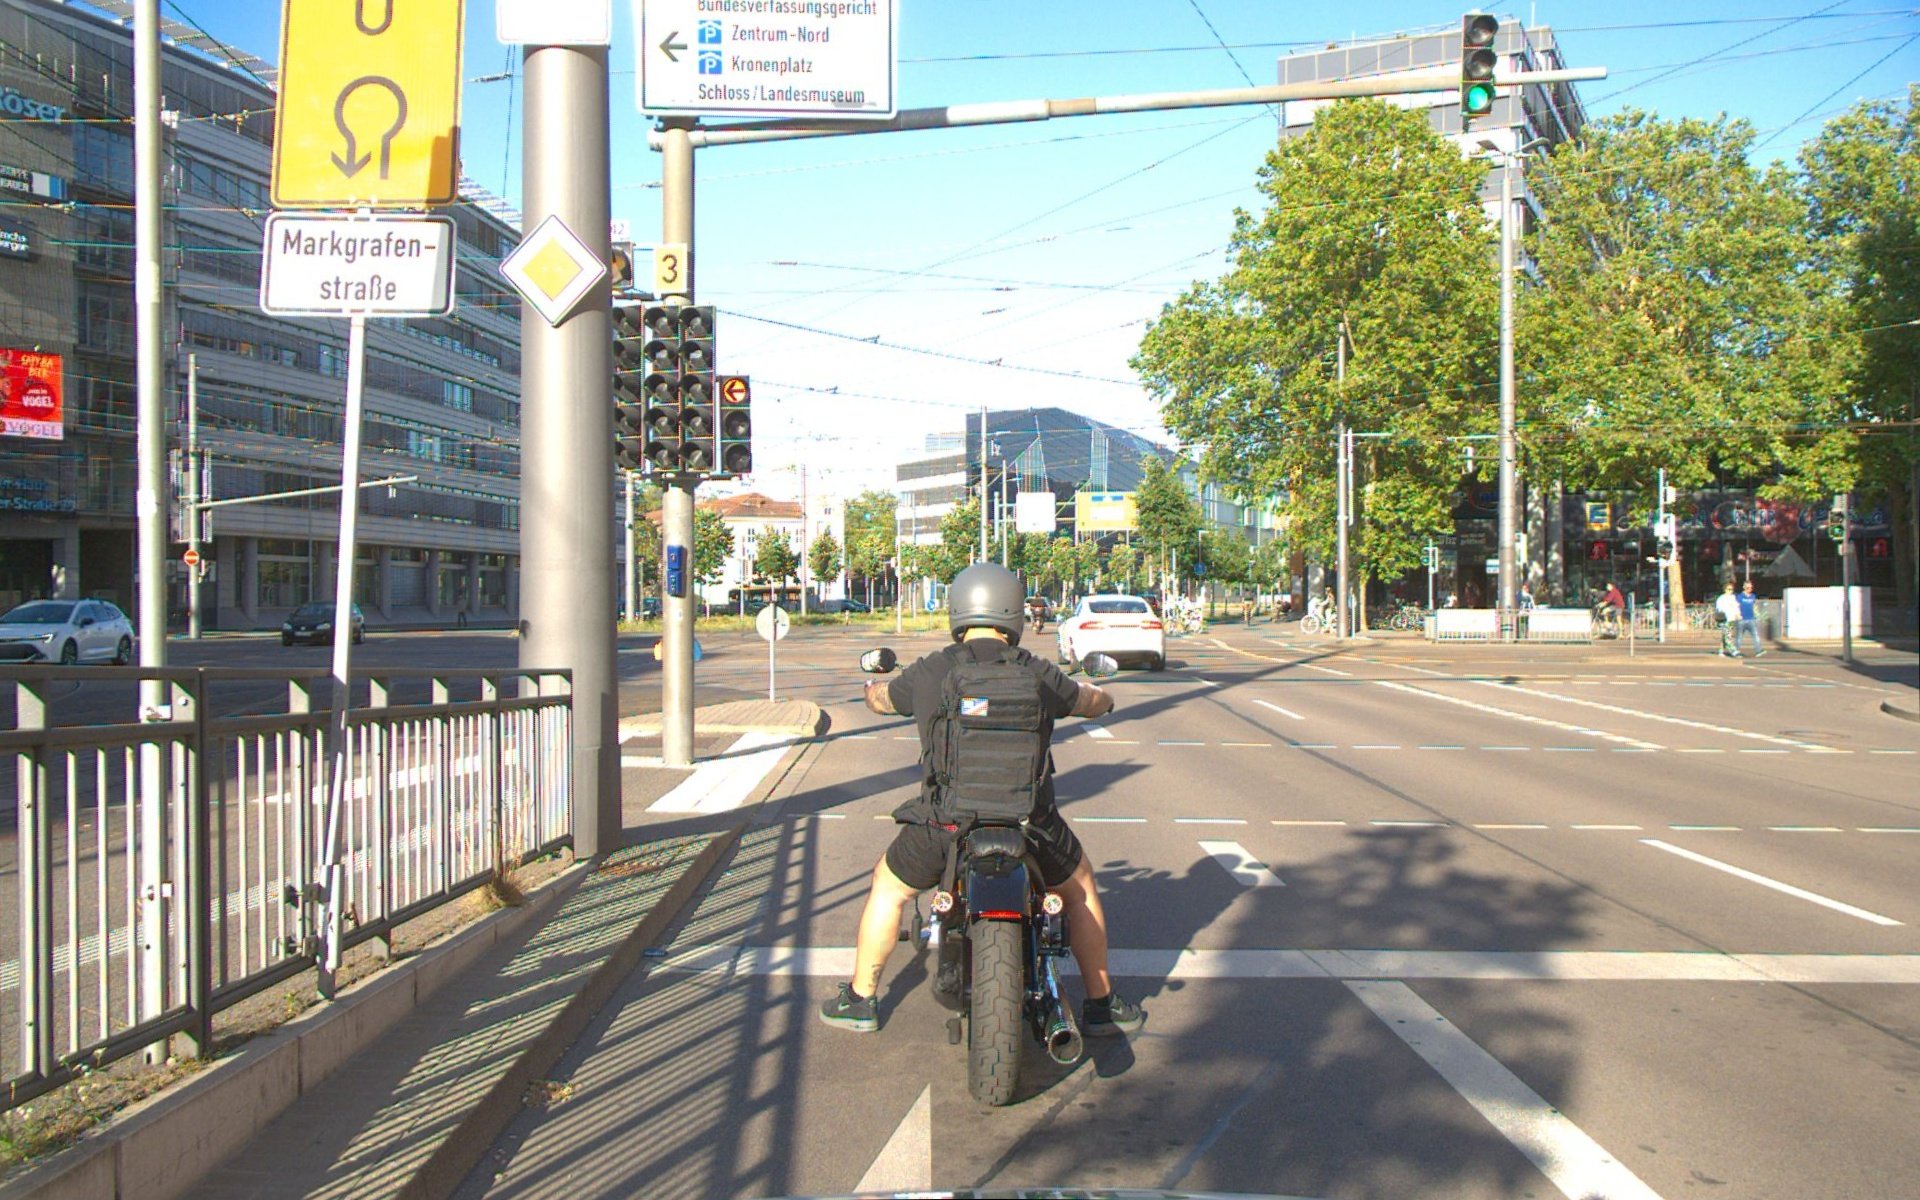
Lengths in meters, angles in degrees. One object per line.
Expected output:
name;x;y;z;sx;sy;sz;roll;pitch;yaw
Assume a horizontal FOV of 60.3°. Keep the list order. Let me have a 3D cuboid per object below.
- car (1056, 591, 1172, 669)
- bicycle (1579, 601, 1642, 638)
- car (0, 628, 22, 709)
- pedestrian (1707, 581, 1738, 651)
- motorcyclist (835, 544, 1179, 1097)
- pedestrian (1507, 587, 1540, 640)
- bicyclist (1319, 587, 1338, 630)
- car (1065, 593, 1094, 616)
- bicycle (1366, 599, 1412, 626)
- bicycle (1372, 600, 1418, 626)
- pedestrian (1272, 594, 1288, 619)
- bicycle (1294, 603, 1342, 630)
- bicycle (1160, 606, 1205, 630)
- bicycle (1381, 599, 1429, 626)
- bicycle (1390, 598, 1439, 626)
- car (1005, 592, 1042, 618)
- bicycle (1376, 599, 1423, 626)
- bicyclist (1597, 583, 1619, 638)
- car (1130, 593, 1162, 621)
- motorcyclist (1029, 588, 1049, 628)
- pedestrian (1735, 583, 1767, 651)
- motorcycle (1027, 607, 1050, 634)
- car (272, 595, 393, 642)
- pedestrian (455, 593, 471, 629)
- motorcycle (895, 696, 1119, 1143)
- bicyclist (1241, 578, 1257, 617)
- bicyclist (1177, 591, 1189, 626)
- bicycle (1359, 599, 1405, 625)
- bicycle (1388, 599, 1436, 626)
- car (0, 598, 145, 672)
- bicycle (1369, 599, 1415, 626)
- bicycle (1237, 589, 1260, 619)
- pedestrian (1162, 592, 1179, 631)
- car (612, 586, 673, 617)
car;3.013;0.548;33.235;1.767;1.455;4.451;0;0;-2
bicycle;22.383;0.680;56.913;2.001;1.235;0.421;1;-1;-1
car;-14.475;0.906;22.451;2.835;1.081;1.235;1;-1;-22
pedestrian;17.126;0.354;37.141;0.554;1.559;0.702;1;-1;20
motorcyclist;0.132;0.644;5.306;1.009;1.621;0.873;0;0;-1
pedestrian;18.700;0.459;54.876;0.816;1.734;0.759;1;-1;-1
bicyclist;14.582;0.346;65.397;0.673;1.702;0.541;0;-1;18
car;9.080;0.352;125.337;1.765;1.708;4.044;1;-1;9
bicycle;18.082;0.526;69.760;1.842;1.064;0.360;1;0;-2
bicycle;18.088;0.537;68.774;1.842;1.065;0.360;1;-1;-2
pedestrian;17.573;0.365;90.906;0.802;1.337;0.638;1;-1;8
bicycle;14.178;0.668;65.518;1.831;1.062;0.537;0;-1;18
bicycle;9.042;0.719;67.196;1.792;0.942;0.357;1;-1;-9
bicycle;18.175;0.516;67.587;1.842;1.065;0.360;1;-1;-2
bicycle;18.144;0.475;65.990;1.842;1.065;0.360;1;-1;-2
car;3.836;0.321;99.706;1.695;1.482;4.421;1;-1;9
bicycle;18.113;0.531;68.143;1.842;1.064;0.360;1;0;-2
bicyclist;22.308;0.365;56.922;0.572;1.870;0.402;1;-1;-1
car;12.139;0.429;107.732;1.694;1.762;4.616;1;1;11
motorcyclist;3.241;0.321;67.715;0.780;1.607;0.529;1;-1;-2
pedestrian;17.738;0.385;37.092;0.554;1.505;0.702;1;-1;20
motorcycle;3.225;0.854;67.900;0.787;1.069;2.375;1;-1;-1
car;-20.721;0.625;54.804;1.786;1.455;4.244;1;-1;11
pedestrian;-28.038;0.620;93.339;0.617;2.049;0.754;1;-1;-1
motorcycle;0.111;0.930;5.587;0.588;1.054;2.233;1;0;-1
bicyclist;13.844;-0.128;79.279;0.682;1.840;0.729;1;-1;3
bicyclist;9.052;0.352;67.203;0.374;1.397;0.344;1;-1;-9
bicycle;18.091;0.528;70.911;1.842;1.064;0.360;1;0;-2
bicycle;18.262;0.496;66.776;1.842;1.065;0.360;1;-1;-2
car;-19.419;0.703;35.644;1.789;1.455;4.525;0;0;-5
bicycle;18.086;0.528;69.260;1.842;1.064;0.360;1;0;-2
bicycle;13.839;0.221;79.314;0.710;1.391;2.918;1;-1;3
pedestrian;8.743;0.486;68.832;0.576;1.584;0.488;1;-1;-9
car;-16.329;0.100;85.240;1.712;1.550;4.003;1;-1;11
